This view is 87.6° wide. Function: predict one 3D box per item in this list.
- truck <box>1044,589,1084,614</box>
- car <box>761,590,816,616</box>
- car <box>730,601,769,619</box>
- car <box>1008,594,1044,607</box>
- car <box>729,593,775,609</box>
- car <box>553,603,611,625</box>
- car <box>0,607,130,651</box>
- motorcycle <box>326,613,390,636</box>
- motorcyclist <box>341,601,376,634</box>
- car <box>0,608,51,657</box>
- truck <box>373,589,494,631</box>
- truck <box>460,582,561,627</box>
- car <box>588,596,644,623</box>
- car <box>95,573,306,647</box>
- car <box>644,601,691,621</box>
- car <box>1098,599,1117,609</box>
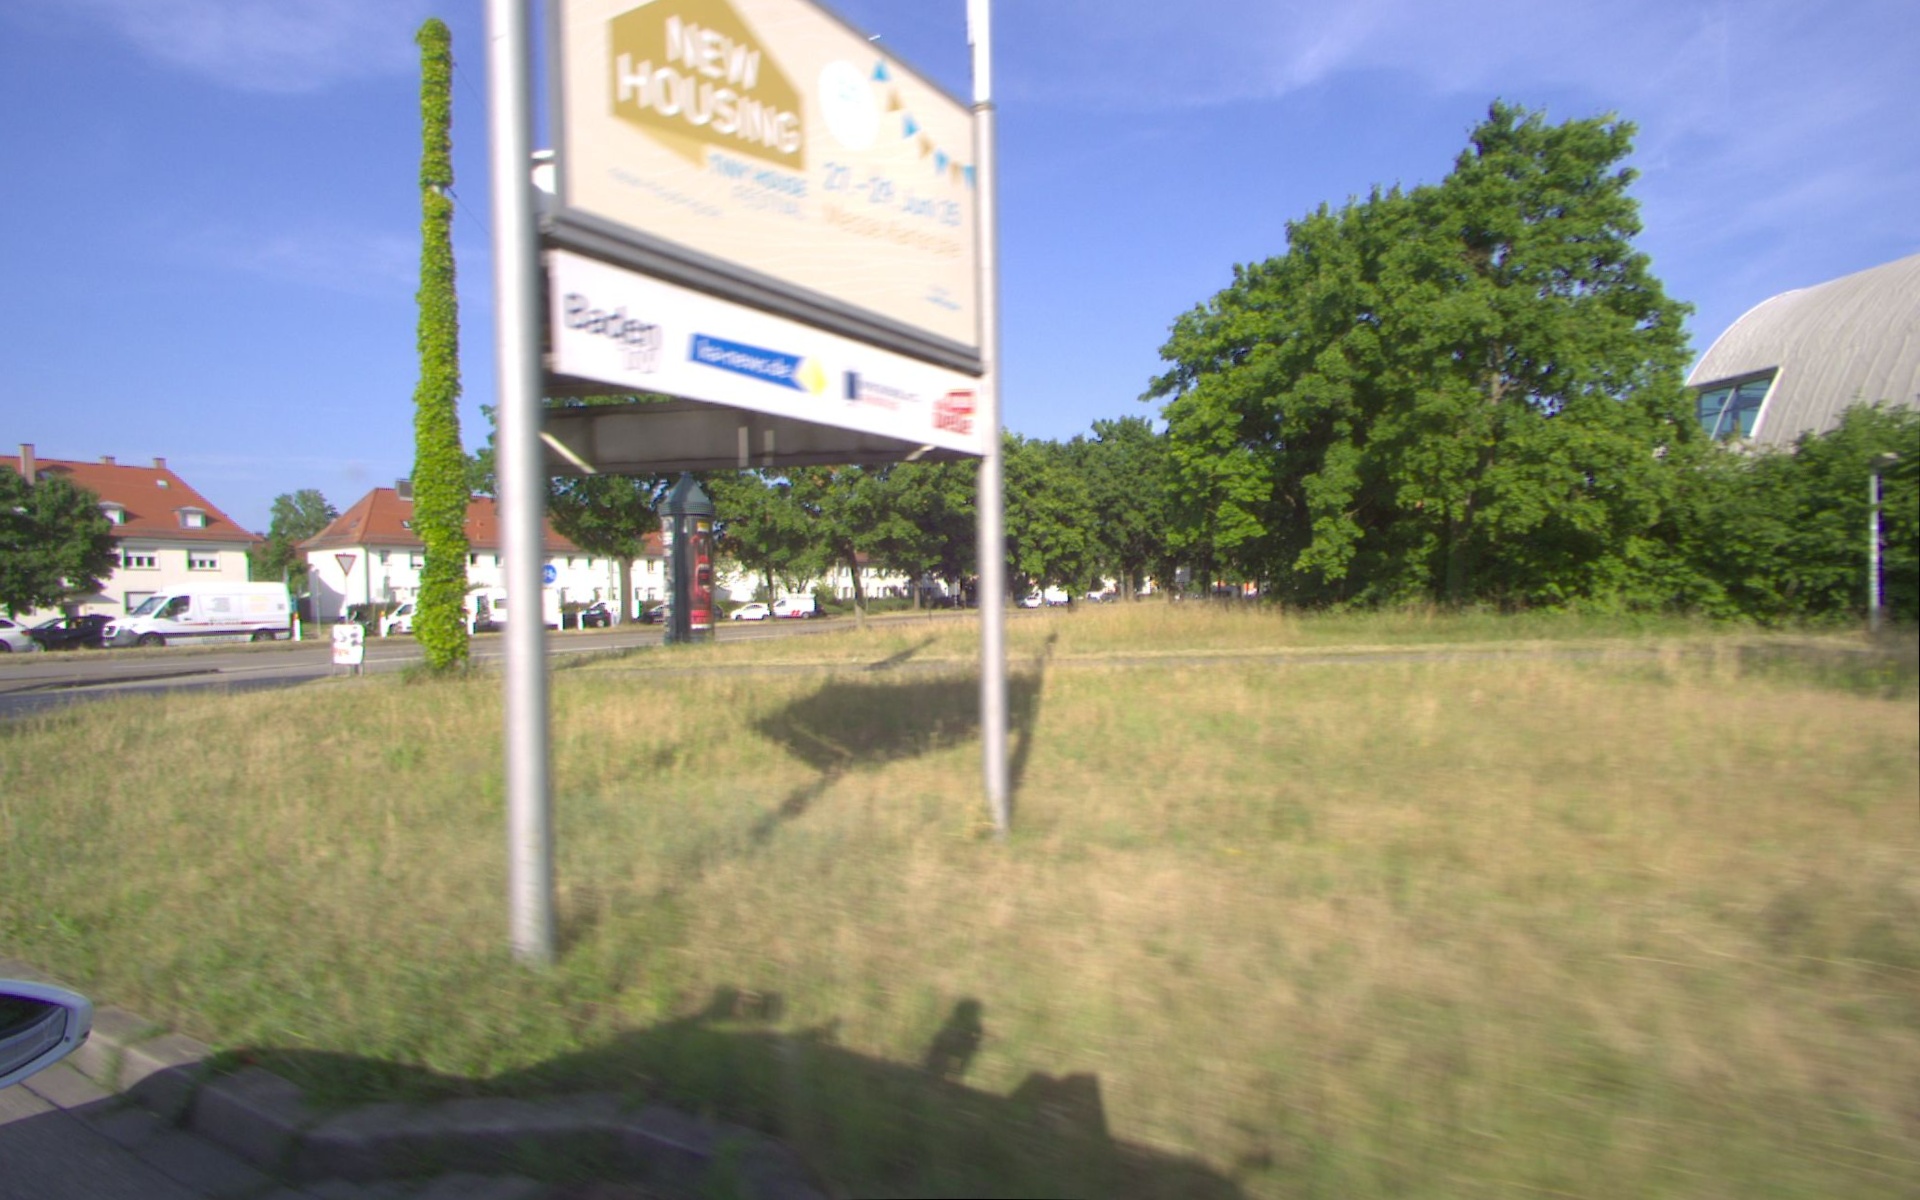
[{"bbox_3d":[15.161,0.232,146.314,5.410,3.511,1.995,-1,1,-20],"label":"truck"},{"bbox_3d":[-16.093,0.293,93.905,4.889,2.262,1.997,-1,1,-15],"label":"car"},{"bbox_3d":[-18.585,0.854,88.541,3.369,1.534,1.894,-1,1,-11],"label":"car"},{"bbox_3d":[8.908,0.076,135.713,4.457,1.746,1.998,-1,0,-13],"label":"car"},{"bbox_3d":[-23.181,0.114,111.381,4.906,1.742,1.990,-1,1,30],"label":"car"},{"bbox_3d":[-27.880,1.012,73.930,3.841,1.475,1.892,-1,1,-18],"label":"car"},{"bbox_3d":[-33.813,1.050,37.428,1.691,1.472,3.979,-1,0,31],"label":"car"},{"bbox_3d":[-25.734,1.039,42.849,0.680,0.878,2.268,-1,0,30],"label":"motorcycle"},{"bbox_3d":[-25.737,0.735,42.837,0.669,1.370,1.064,0,1,30],"label":"motorcyclist"},{"bbox_3d":[-32.860,1.105,32.182,1.813,1.584,5.085,-1,0,31],"label":"car"},{"bbox_3d":[-32.897,0.606,62.727,6.234,2.558,2.277,0,1,-4],"label":"truck"},{"bbox_3d":[-30.516,0.311,68.208,5.969,2.893,1.893,-1,1,-16],"label":"truck"},{"bbox_3d":[-26.310,0.719,76.736,3.839,1.945,1.893,-1,1,-15],"label":"car"},{"bbox_3d":[-29.130,0.357,38.709,1.971,2.618,6.197,-1,0,31],"label":"car"},{"bbox_3d":[-23.273,0.881,79.798,3.434,1.534,1.894,-1,1,-11],"label":"car"},{"bbox_3d":[22.428,0.633,151.889,1.689,1.371,3.984,-1,0,27],"label":"car"}]
